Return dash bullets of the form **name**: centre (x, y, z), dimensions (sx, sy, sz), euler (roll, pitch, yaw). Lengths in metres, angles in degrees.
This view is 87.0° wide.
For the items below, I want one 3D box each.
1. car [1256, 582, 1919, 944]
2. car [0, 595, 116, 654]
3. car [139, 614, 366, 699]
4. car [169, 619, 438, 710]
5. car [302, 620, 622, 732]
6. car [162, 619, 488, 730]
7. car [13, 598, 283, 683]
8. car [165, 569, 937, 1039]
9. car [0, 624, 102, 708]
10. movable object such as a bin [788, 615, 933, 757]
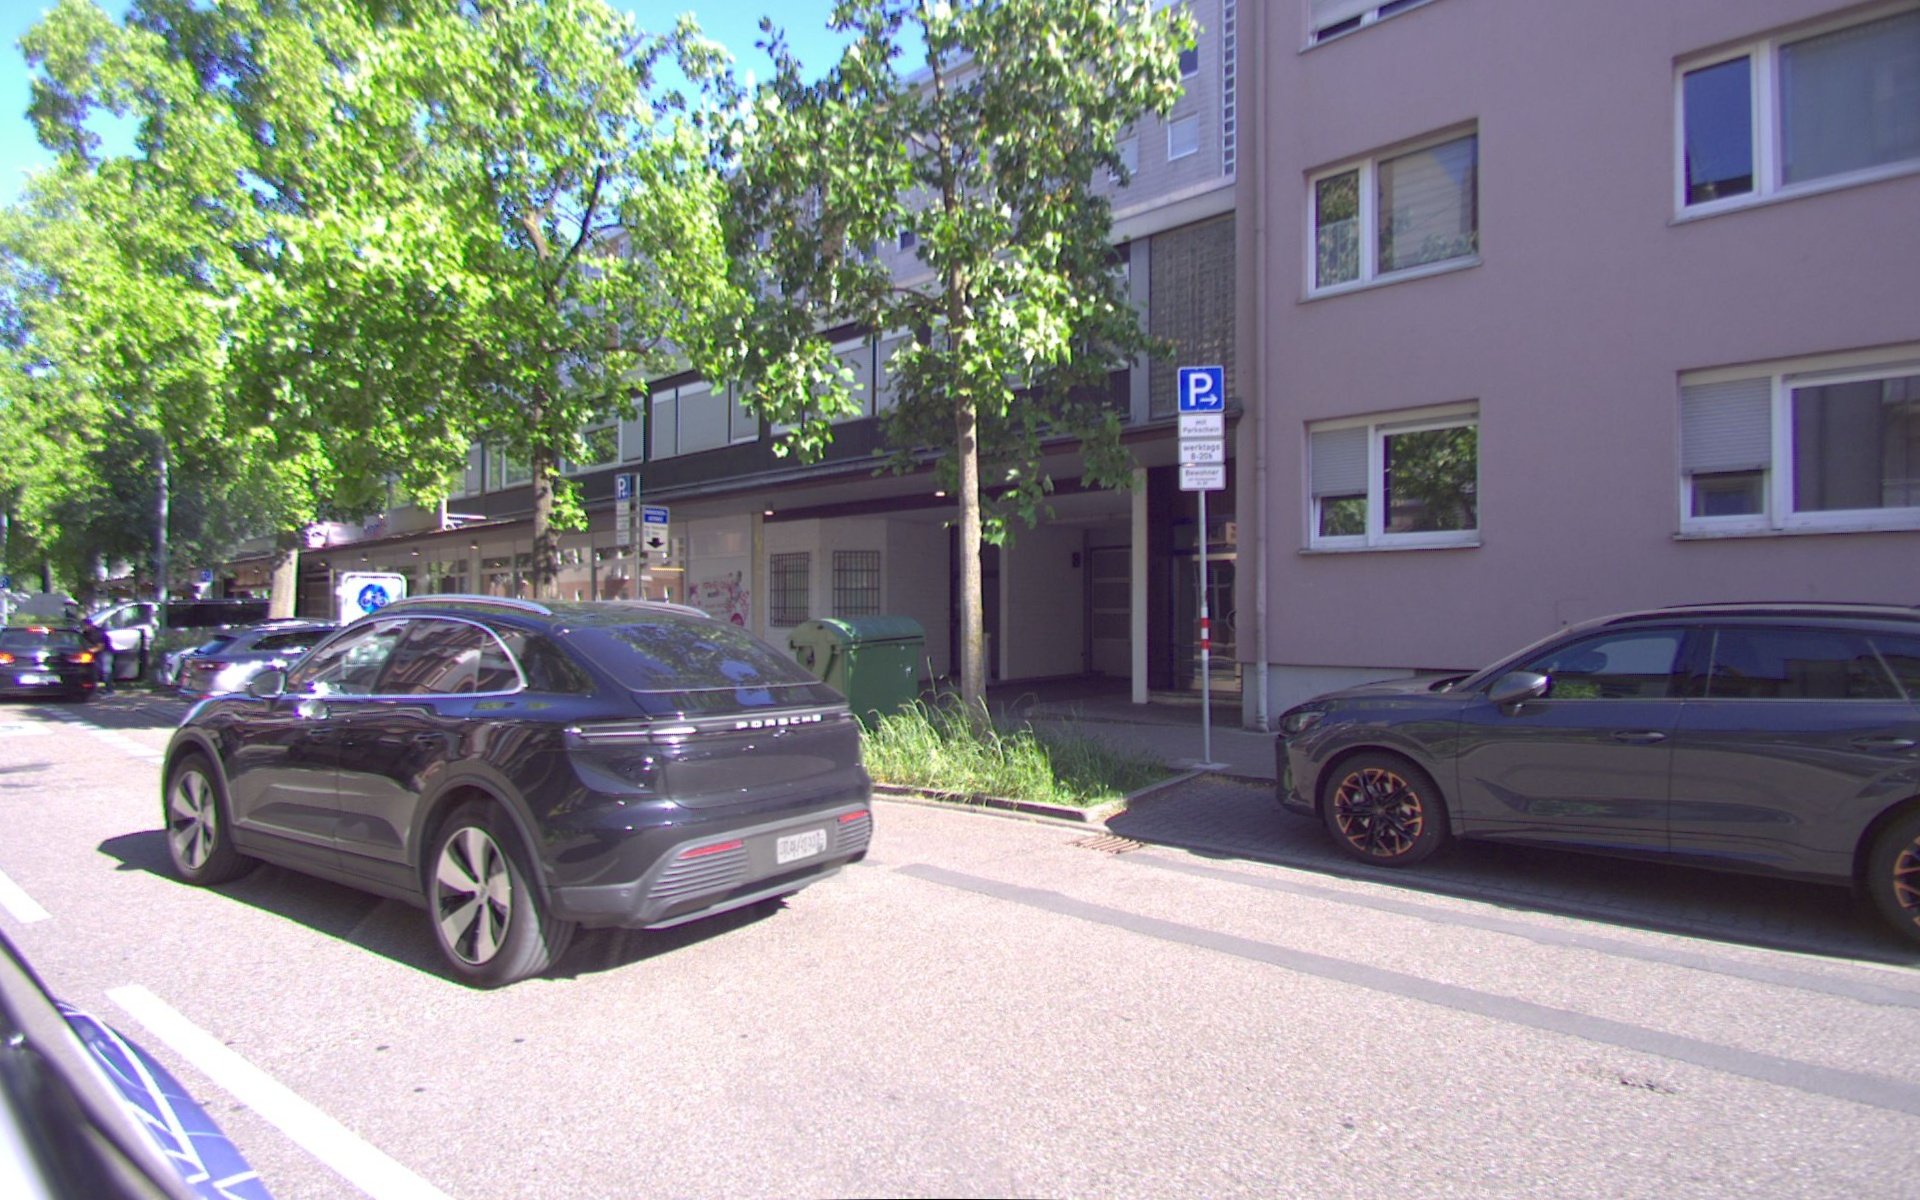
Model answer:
- **car**: centre (4.201, 0.739, 5.907), dimensions (4.364, 1.618, 1.857), euler (-1, 0, 43)
- **car**: centre (-41.344, 1.070, 44.398), dimensions (1.985, 2.493, 6.558), euler (-1, -1, 20)
- **car**: centre (-14.770, 1.109, 21.289), dimensions (1.679, 1.564, 3.570), euler (-1, 0, 32)
- **car**: centre (-12.375, 1.133, 19.291), dimensions (1.809, 1.474, 3.951), euler (-1, -1, 36)
- **car**: centre (-7.727, 1.086, 16.034), dimensions (1.643, 1.444, 4.259), euler (-1, -1, 41)
- **car**: centre (-10.339, 1.117, 16.722), dimensions (1.763, 1.471, 4.257), euler (-1, 0, 44)
- **car**: centre (-20.983, 0.951, 26.373), dimensions (2.014, 1.989, 5.237), euler (-1, -1, 41)
- **car**: centre (-2.441, 0.752, 5.559), dimensions (4.417, 1.626, 1.851), euler (-1, -1, 35)
- **car**: centre (-17.822, 1.196, 19.235), dimensions (3.959, 1.449, 1.744), euler (-1, -3, 42)
- **movable object such as a bin**: centre (-1.103, 0.898, 11.212), dimensions (1.215, 1.461, 1.077), euler (1, -2, -40)
